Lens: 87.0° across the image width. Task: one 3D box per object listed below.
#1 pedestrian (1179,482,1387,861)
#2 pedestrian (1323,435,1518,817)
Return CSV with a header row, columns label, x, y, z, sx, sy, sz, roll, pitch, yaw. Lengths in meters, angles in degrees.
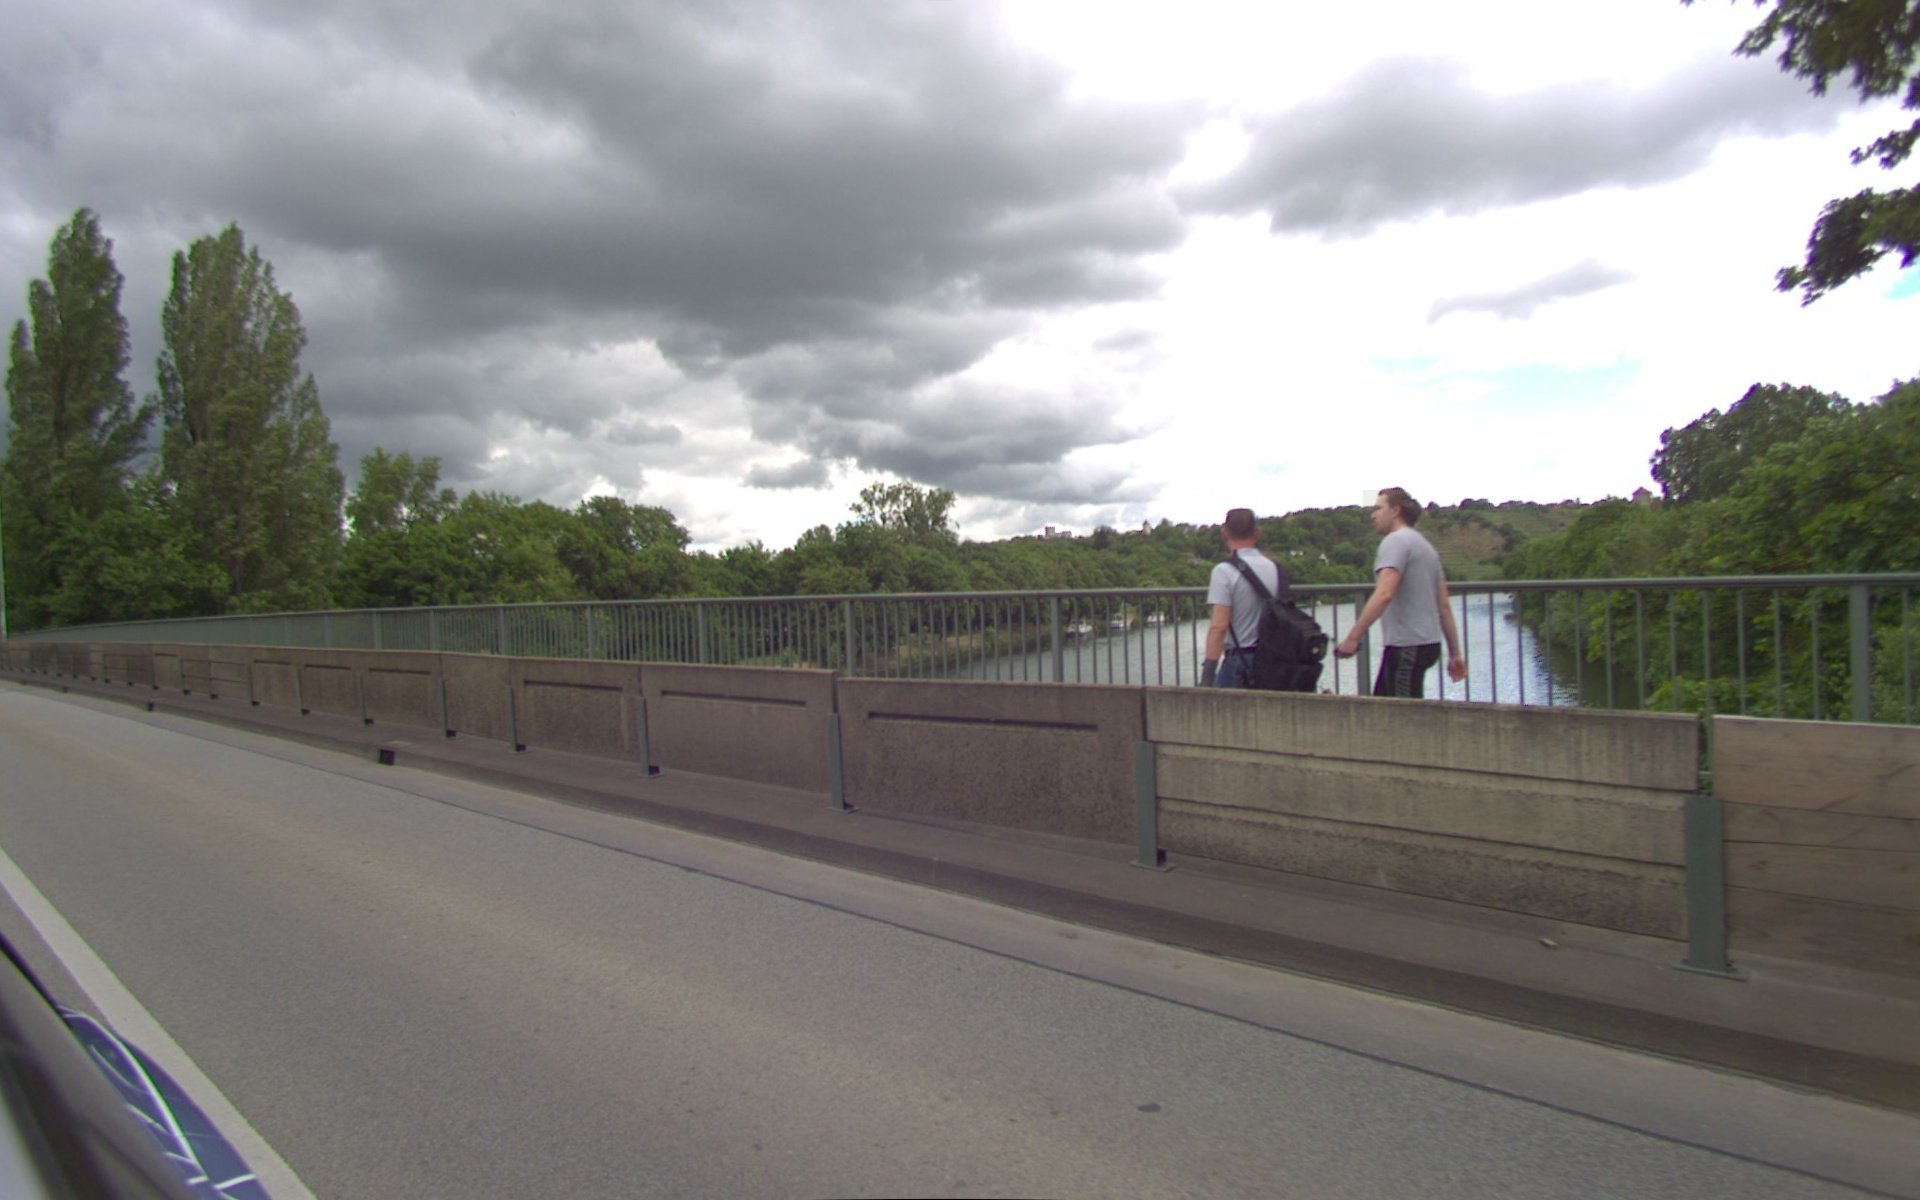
label,x,y,z,sx,sy,sz,roll,pitch,yaw
pedestrian,1.628,0.325,5.089,0.722,1.714,0.714,-2,0,40
pedestrian,2.469,0.129,5.417,0.722,1.853,0.714,-2,0,40
